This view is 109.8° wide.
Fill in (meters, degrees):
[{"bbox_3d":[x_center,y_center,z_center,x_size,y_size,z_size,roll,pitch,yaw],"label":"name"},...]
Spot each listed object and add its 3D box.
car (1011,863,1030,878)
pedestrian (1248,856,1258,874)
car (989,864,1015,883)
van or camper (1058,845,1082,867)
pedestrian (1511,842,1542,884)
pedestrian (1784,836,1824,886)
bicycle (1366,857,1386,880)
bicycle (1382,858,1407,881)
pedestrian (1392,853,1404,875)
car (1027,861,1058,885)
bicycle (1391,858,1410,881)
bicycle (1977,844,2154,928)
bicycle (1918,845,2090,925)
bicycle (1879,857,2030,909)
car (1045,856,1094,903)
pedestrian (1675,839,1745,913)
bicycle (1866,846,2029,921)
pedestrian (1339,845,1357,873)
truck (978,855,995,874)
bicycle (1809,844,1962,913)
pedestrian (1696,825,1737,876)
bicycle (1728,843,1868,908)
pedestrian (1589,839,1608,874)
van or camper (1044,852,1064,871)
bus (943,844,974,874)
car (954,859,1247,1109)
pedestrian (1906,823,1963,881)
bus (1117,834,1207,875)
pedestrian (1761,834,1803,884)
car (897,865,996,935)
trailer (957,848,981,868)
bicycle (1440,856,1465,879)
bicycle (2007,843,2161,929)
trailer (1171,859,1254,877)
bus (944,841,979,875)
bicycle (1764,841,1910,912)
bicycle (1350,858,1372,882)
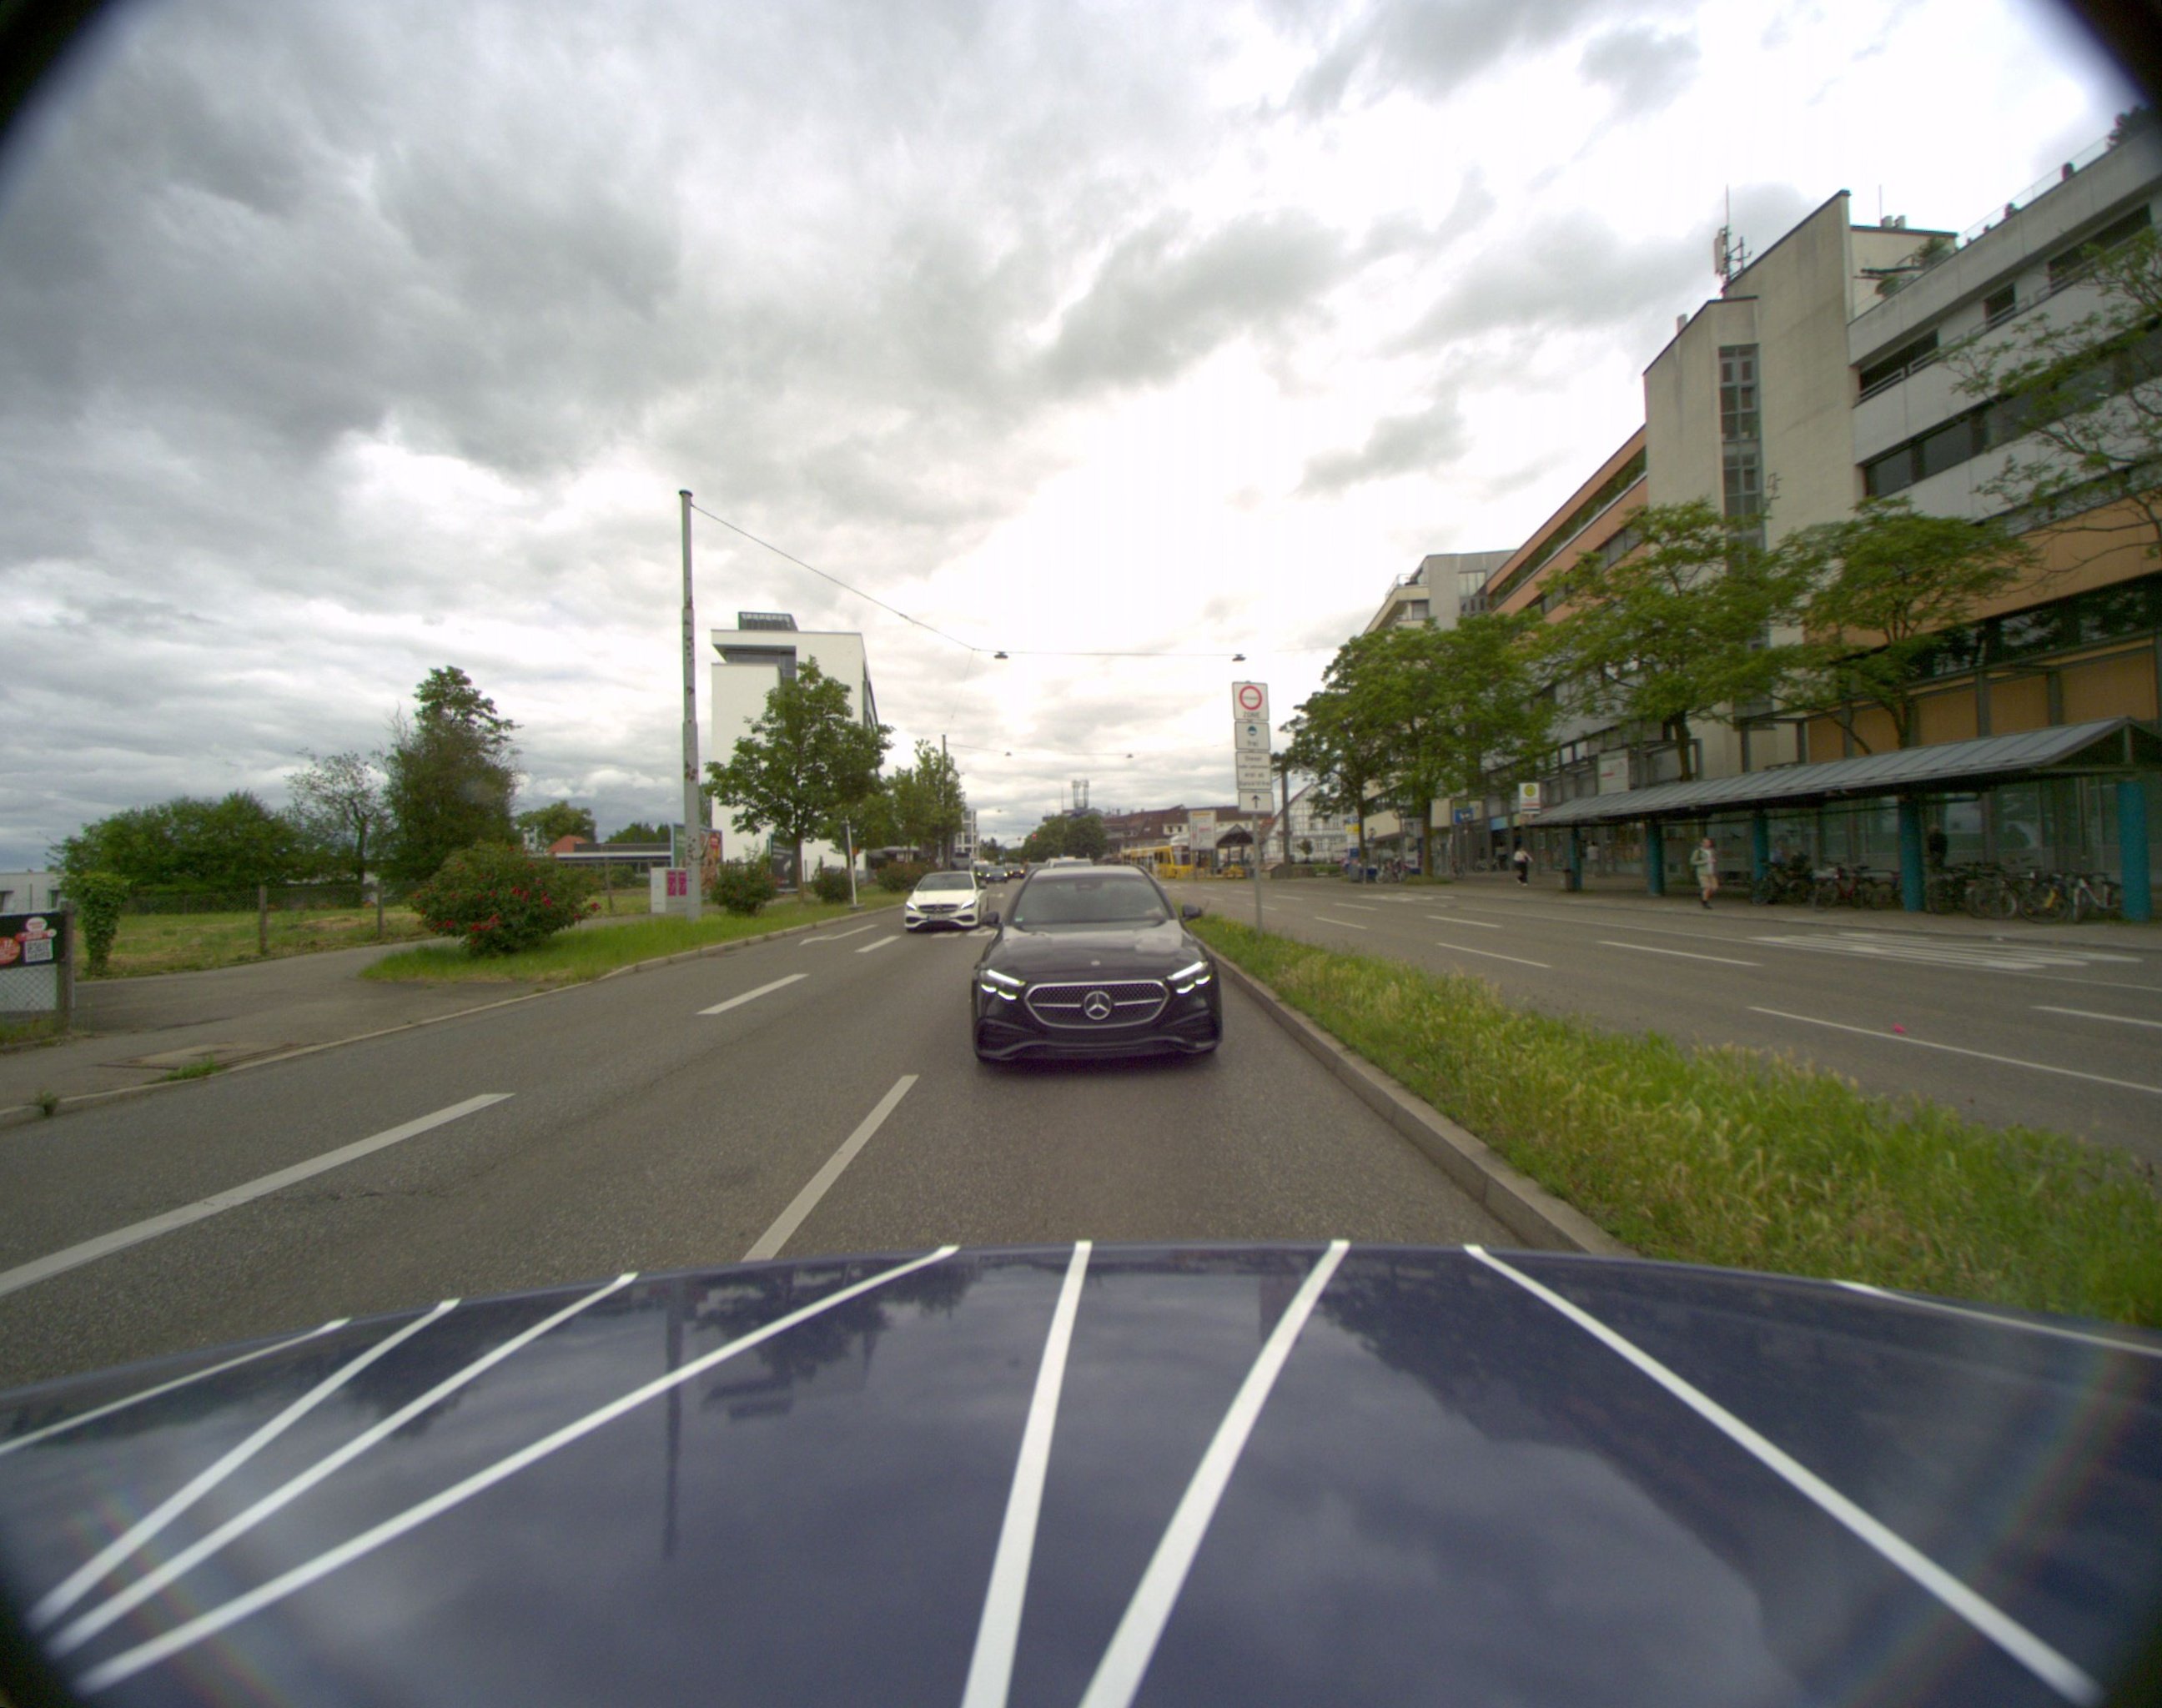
[{"bbox_3d":[-6.679,1.753,84.079,1.735,1.544,4.369,-2,0,0],"label":"car"},{"bbox_3d":[14.768,0.958,65.219,0.601,1.564,0.620,-1,0,-10],"label":"pedestrian"},{"bbox_3d":[-6.629,1.585,63.949,1.735,1.474,4.369,-2,0,-1],"label":"car"},{"bbox_3d":[-1.467,0.270,95.339,2.039,2.582,6.111,1,-1,-10],"label":"van or camper"},{"bbox_3d":[18.599,0.361,31.701,0.777,1.703,0.706,-3,0,-5],"label":"pedestrian"},{"bbox_3d":[23.795,0.234,25.015,0.634,1.590,0.622,-3,0,-5],"label":"pedestrian"},{"bbox_3d":[15.379,0.756,39.608,0.603,1.154,1.969,-1,-1,32],"label":"bicycle"},{"bbox_3d":[16.492,0.828,39.954,0.604,1.154,1.966,-1,-1,4],"label":"bicycle"},{"bbox_3d":[24.114,0.761,57.741,0.551,1.690,0.628,-1,0,-9],"label":"pedestrian"},{"bbox_3d":[-2.521,1.259,50.819,1.735,1.474,4.369,-2,0,1],"label":"car"},{"bbox_3d":[16.205,0.767,38.516,0.603,1.154,1.693,-1,-1,31],"label":"bicycle"},{"bbox_3d":[18.731,0.585,14.469,2.908,1.498,0.700,-1,0,-8],"label":"bicycle"},{"bbox_3d":[18.569,0.600,15.300,2.908,1.498,0.778,-1,0,-8],"label":"bicycle"},{"bbox_3d":[19.987,0.643,17.407,2.908,1.106,0.805,-1,0,-8],"label":"bicycle"},{"bbox_3d":[-0.411,0.951,30.126,1.735,1.680,4.369,-2,0,0],"label":"car"},{"bbox_3d":[16.198,0.543,19.592,0.705,1.812,1.213,-3,1,-3],"label":"pedestrian"},{"bbox_3d":[18.445,0.602,16.185,2.908,1.498,0.805,-1,0,-8],"label":"bicycle"},{"bbox_3d":[17.966,0.317,51.145,0.747,1.866,0.873,-1,0,-8],"label":"pedestrian"},{"bbox_3d":[-19.902,2.301,159.582,2.948,3.933,9.158,1,-2,-10],"label":"truck"},{"bbox_3d":[18.551,0.554,17.550,2.908,1.498,0.811,-1,0,-6],"label":"bicycle"},{"bbox_3d":[21.897,-0.126,26.175,0.774,1.706,0.787,-3,0,18],"label":"pedestrian"},{"bbox_3d":[18.462,0.534,19.584,2.908,1.498,0.972,-3,0,-8],"label":"bicycle"},{"bbox_3d":[24.162,0.132,35.478,0.633,1.590,0.624,-3,0,31],"label":"pedestrian"},{"bbox_3d":[-3.779,1.027,105.867,2.000,2.582,6.111,1,-1,-9],"label":"van or camper"},{"bbox_3d":[-14.219,0.622,87.408,3.047,3.216,9.329,-1,-1,-12],"label":"bus"},{"bbox_3d":[0.078,0.914,7.522,1.872,1.542,4.773,-4,-1,-2],"label":"car"},{"bbox_3d":[26.103,-0.070,23.251,0.772,1.706,0.790,-3,0,4],"label":"pedestrian"},{"bbox_3d":[8.151,0.224,81.333,3.891,3.836,19.324,-1,-1,-12],"label":"bus"},{"bbox_3d":[23.088,0.156,25.030,0.668,1.574,0.706,-3,0,-5],"label":"pedestrian"},{"bbox_3d":[-3.390,1.095,20.031,1.873,1.496,4.771,-1,1,-2],"label":"car"},{"bbox_3d":[-26.564,1.082,179.634,3.115,4.243,14.827,-1,-2,-19],"label":"trailer"},{"bbox_3d":[19.198,0.670,39.262,0.672,1.154,2.023,-1,-1,40],"label":"bicycle"},{"bbox_3d":[18.810,0.569,14.108,2.908,1.498,0.598,-1,0,-8],"label":"bicycle"},{"bbox_3d":[11.067,1.234,65.561,2.851,1.325,12.116,-1,-1,-12],"label":"trailer"},{"bbox_3d":[-12.426,0.468,78.391,2.993,3.222,9.856,-1,-1,-12],"label":"bus"},{"bbox_3d":[18.444,0.530,18.561,2.908,1.498,0.891,-4,0,-8],"label":"bicycle"},{"bbox_3d":[14.844,0.841,40.307,0.603,1.154,1.969,-4,-1,33],"label":"bicycle"}]
